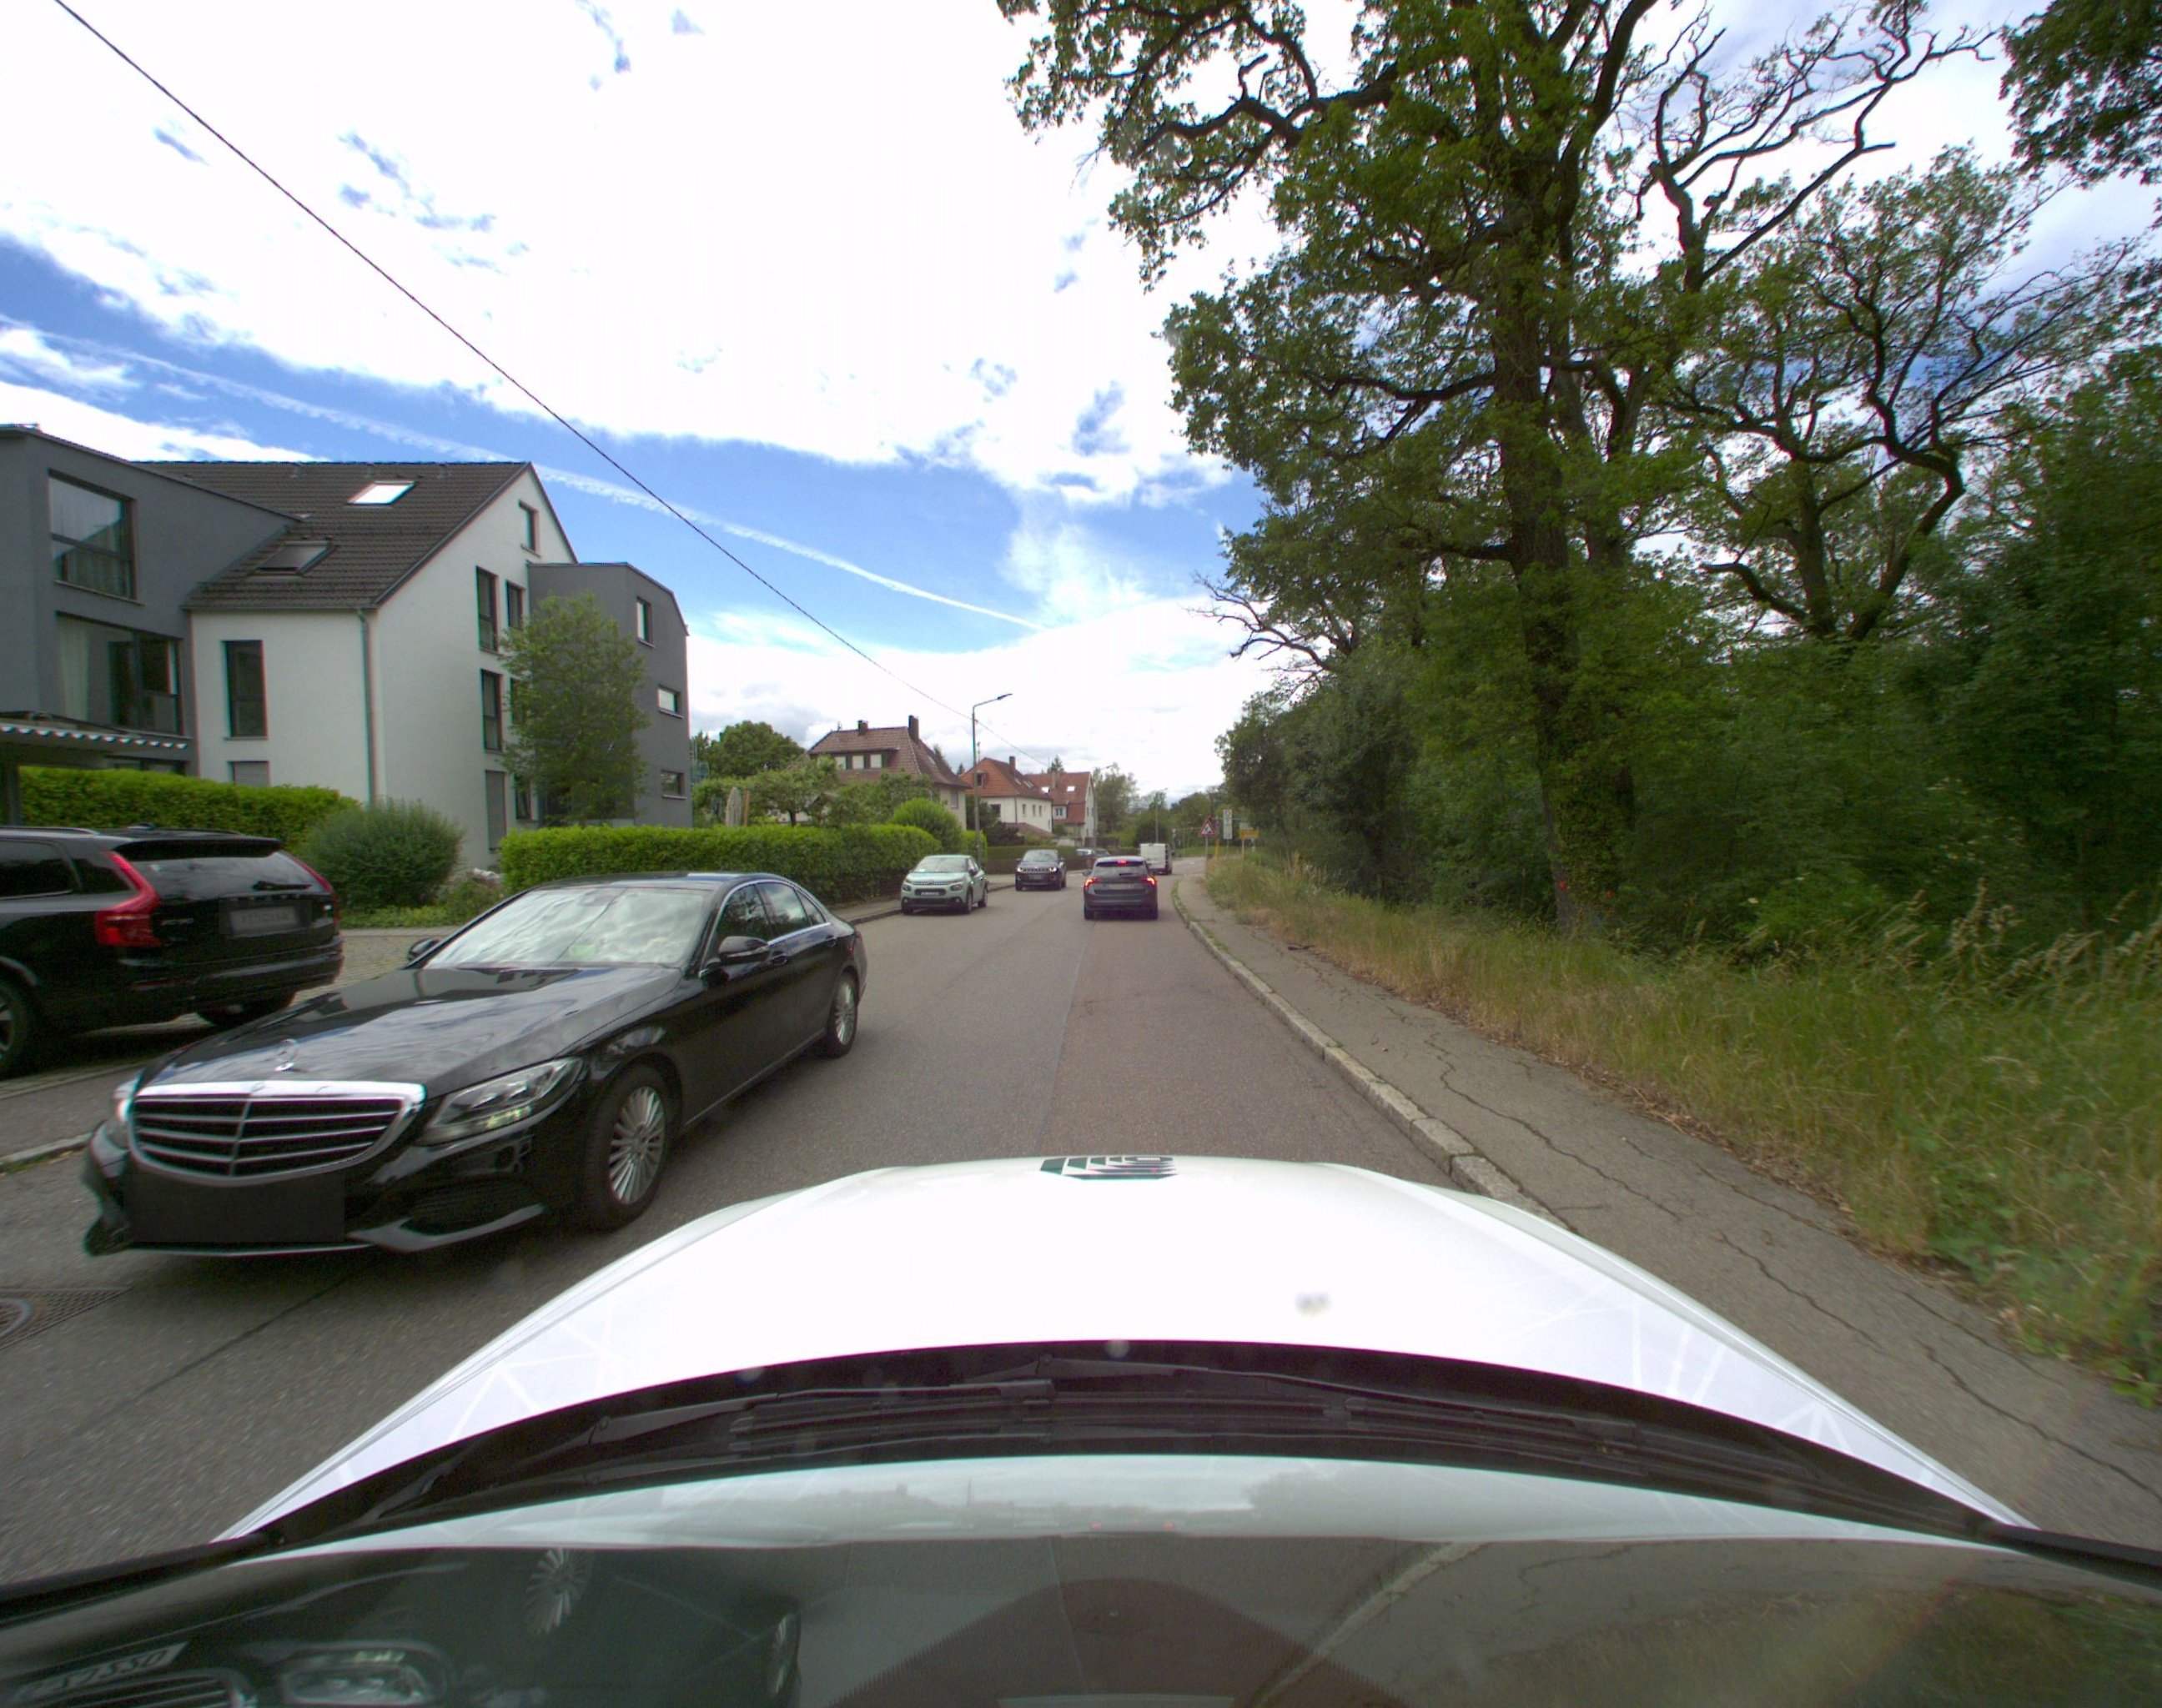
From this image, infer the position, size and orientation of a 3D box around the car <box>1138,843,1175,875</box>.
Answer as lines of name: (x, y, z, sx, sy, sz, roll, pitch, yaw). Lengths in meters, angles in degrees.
car: (4.838, 0.316, 51.850, 2.060, 1.922, 4.934, -1, 0, 8)

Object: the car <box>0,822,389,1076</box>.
car: (-8.719, 0.692, 6.463, 4.604, 1.697, 1.998, -1, 0, -2)

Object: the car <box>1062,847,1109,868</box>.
car: (0.417, 0.312, 72.650, 3.969, 1.706, 1.919, -1, 0, 4)

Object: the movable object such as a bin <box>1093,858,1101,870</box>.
movable object such as a bin: (1.260, 0.790, 64.008, 0.596, 0.951, 0.581, -1, 0, 8)

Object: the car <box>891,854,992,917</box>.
car: (-3.562, 0.746, 21.484, 1.776, 1.500, 4.018, 0, 0, 3)

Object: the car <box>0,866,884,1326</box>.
car: (-2.728, 0.815, 4.933, 1.856, 1.414, 4.593, 0, 0, 1)

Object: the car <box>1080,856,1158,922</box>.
car: (0.890, 0.783, 20.270, 1.722, 1.439, 4.324, -1, 0, 1)

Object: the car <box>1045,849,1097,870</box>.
car: (-0.844, 0.462, 67.736, 3.962, 1.618, 2.006, -1, 0, 10)

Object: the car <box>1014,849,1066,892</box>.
car: (-1.634, 0.639, 33.762, 1.827, 1.597, 4.325, -1, 1, 1)
